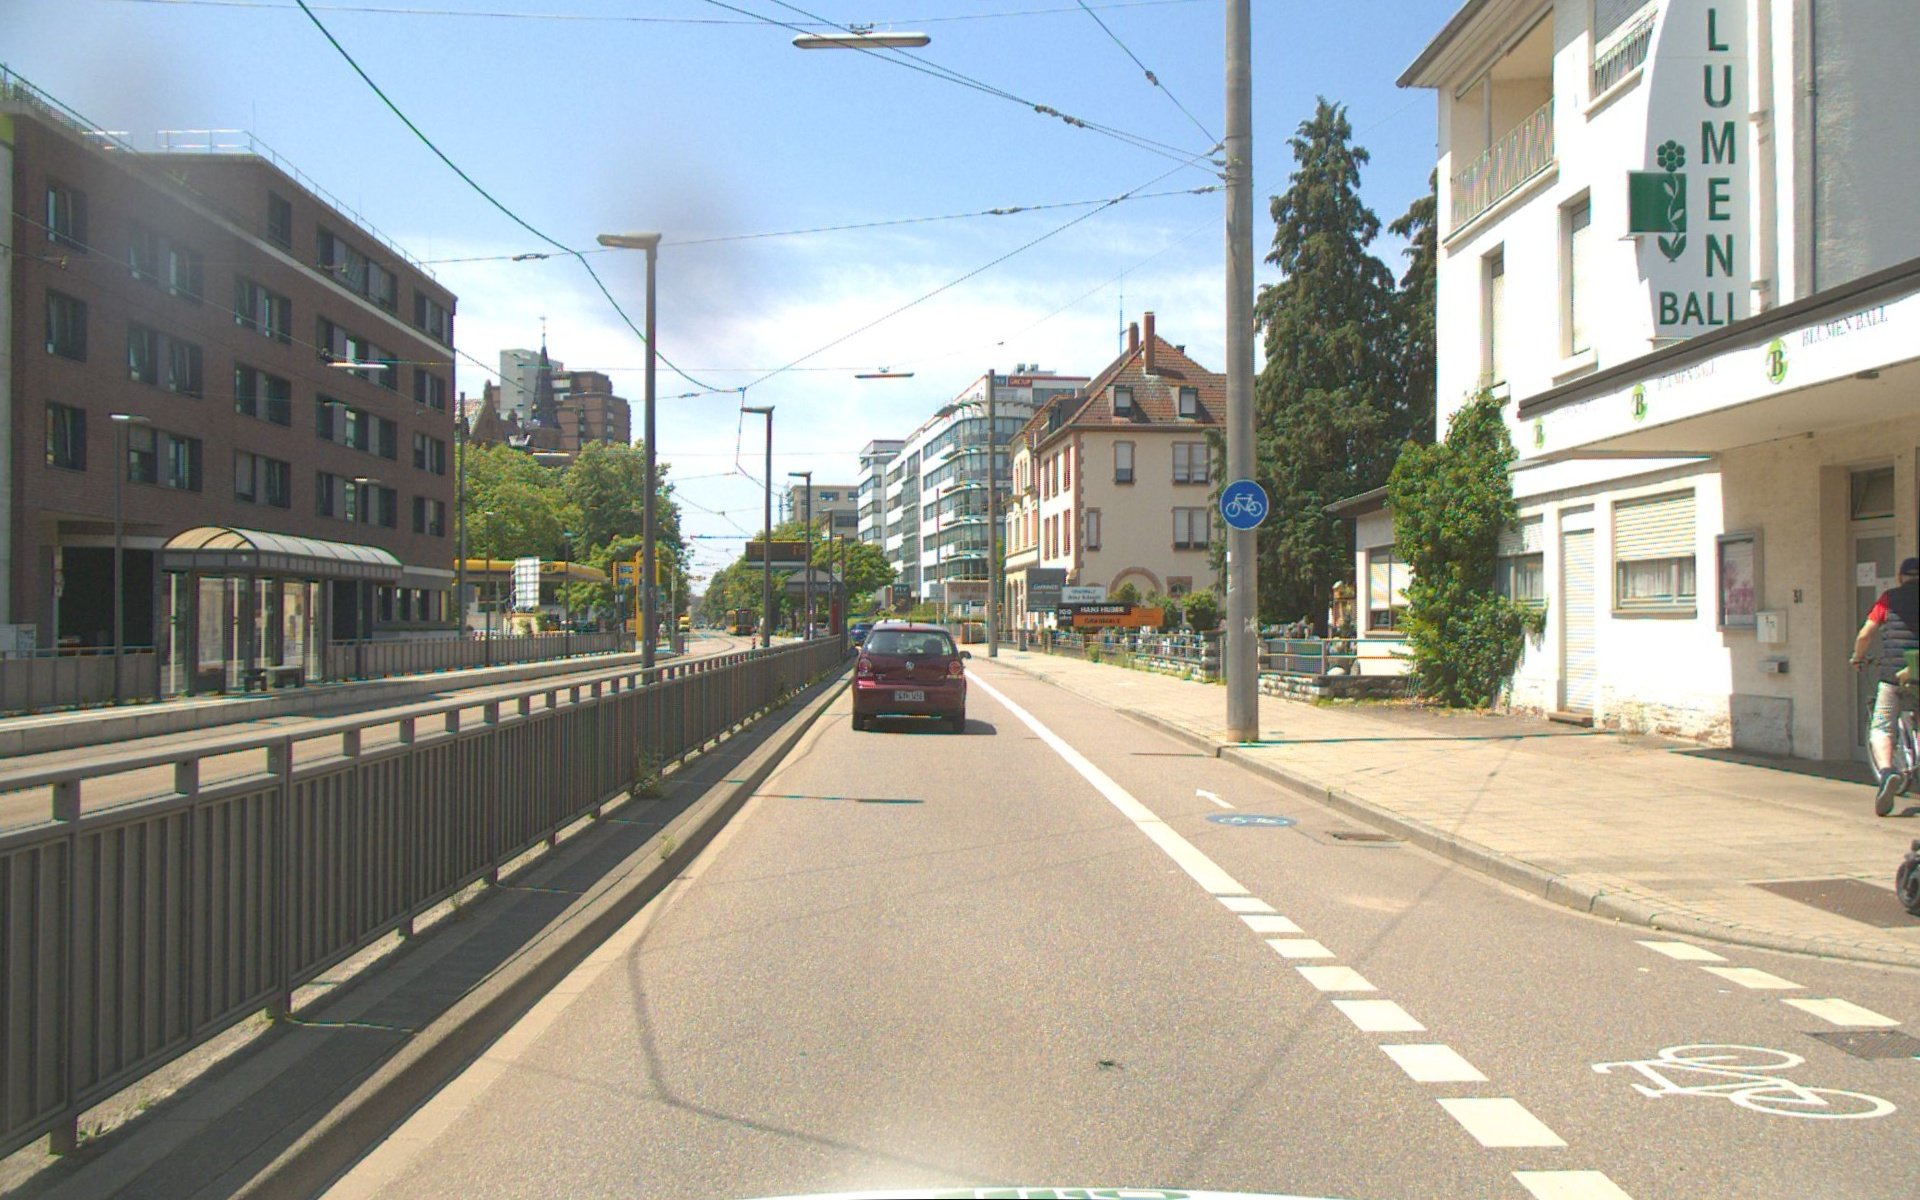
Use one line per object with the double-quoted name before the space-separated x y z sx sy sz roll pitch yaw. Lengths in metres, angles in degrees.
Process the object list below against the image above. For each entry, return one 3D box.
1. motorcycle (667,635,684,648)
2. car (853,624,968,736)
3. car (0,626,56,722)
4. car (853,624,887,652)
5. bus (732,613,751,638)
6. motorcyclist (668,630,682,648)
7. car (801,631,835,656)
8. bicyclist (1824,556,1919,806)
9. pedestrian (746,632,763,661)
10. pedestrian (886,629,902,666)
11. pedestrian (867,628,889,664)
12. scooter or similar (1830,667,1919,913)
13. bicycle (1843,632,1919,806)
"motorcycle" -18.779 2.738 109.169 0.854 0.820 1.909 -1 -1 -2
"car" -0.726 1.104 23.797 1.530 1.479 3.060 -1 -1 -2
"car" -16.480 1.215 26.310 1.952 1.534 4.000 -1 -1 0
"car" -5.563 2.316 101.899 1.954 1.653 4.627 -1 -1 -5
"bus" -28.099 3.309 212.552 2.106 3.056 6.557 -1 -1 -10
"motorcyclist" -18.805 2.545 109.051 0.832 1.159 0.634 -1 -1 -2
"car" -11.217 3.455 130.730 1.961 1.881 3.983 -1 -1 -16
"bicyclist" 6.989 0.585 12.304 0.711 1.791 0.924 -1 -1 10
"pedestrian" -14.703 3.318 118.442 1.087 2.049 1.038 0 -2 -1
"pedestrian" -3.378 2.423 84.722 0.730 1.869 0.791 -1 -1 -5
"pedestrian" -4.271 2.398 86.141 1.146 1.869 0.791 -1 -1 -5
"scooter or similar" 4.994 0.938 8.013 0.335 1.198 1.456 0 -1 -25
"bicycle" 7.082 0.861 12.211 0.367 1.218 1.906 -1 -1 9
